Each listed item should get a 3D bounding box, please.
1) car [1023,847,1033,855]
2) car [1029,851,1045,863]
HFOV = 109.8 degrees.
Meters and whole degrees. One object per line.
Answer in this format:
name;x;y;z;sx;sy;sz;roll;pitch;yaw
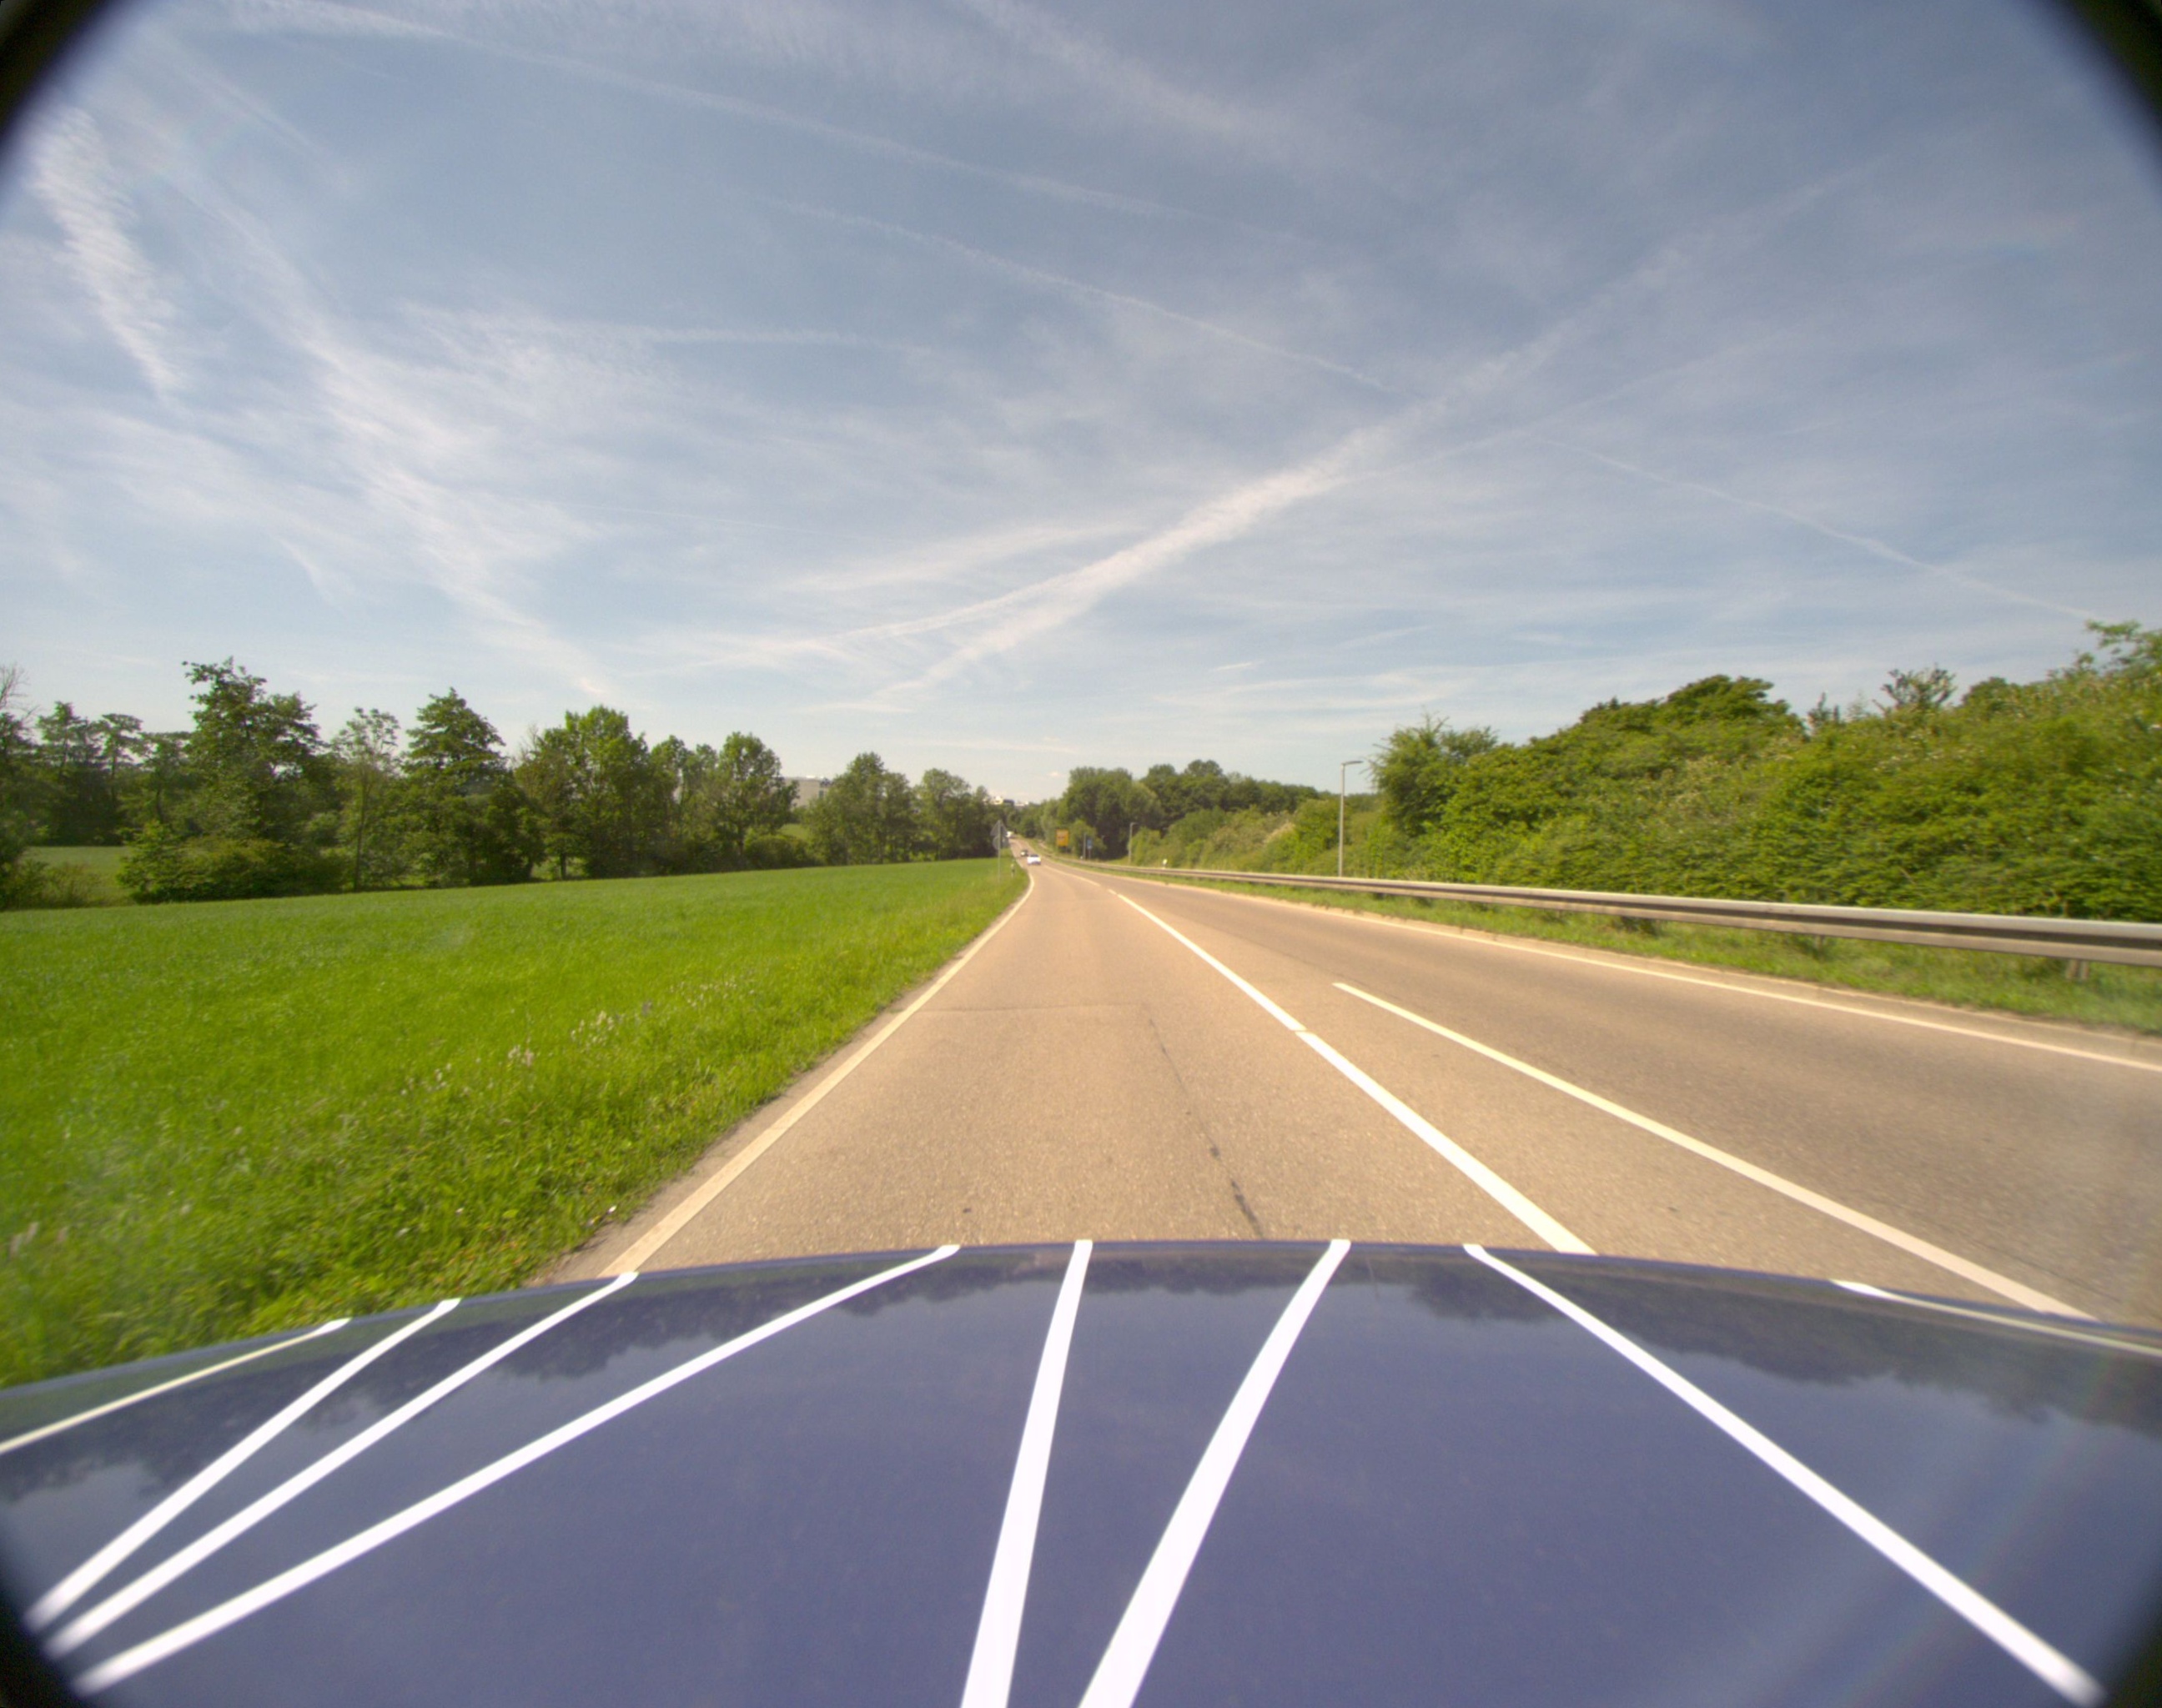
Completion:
car;-11.646;-0.698;167.292;2.000;1.576;3.997;-1;0;-6
car;-6.101;0.456;105.452;1.999;1.576;3.999;-1;0;-1
